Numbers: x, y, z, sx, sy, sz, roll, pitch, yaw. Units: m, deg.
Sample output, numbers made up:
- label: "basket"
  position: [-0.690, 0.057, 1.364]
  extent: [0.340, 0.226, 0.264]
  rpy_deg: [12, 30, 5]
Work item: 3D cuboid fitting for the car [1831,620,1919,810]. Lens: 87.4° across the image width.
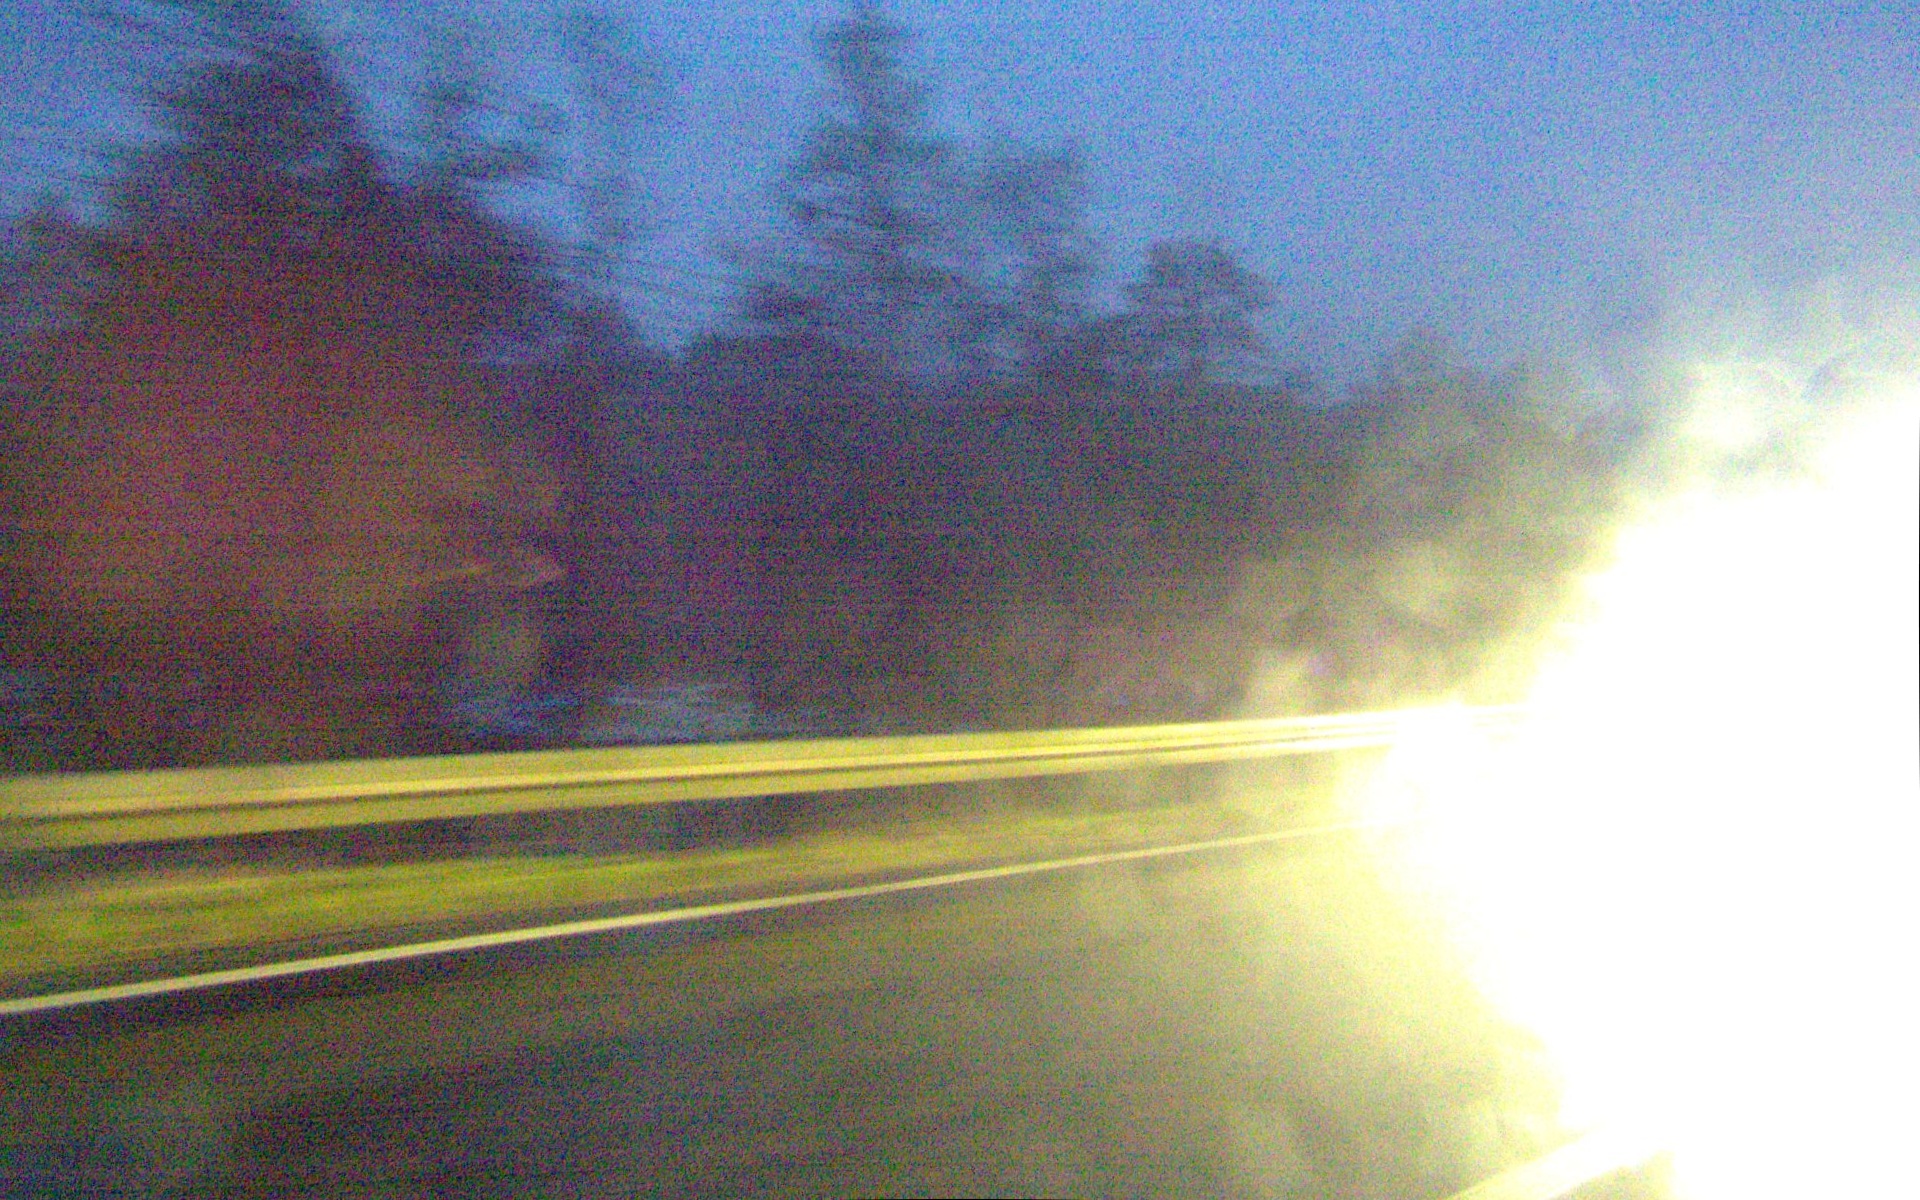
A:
- label: "car"
  position: [9.782, 0.991, 9.147]
  extent: [3.955, 1.574, 1.707]
  rpy_deg: [1, -1, -32]
